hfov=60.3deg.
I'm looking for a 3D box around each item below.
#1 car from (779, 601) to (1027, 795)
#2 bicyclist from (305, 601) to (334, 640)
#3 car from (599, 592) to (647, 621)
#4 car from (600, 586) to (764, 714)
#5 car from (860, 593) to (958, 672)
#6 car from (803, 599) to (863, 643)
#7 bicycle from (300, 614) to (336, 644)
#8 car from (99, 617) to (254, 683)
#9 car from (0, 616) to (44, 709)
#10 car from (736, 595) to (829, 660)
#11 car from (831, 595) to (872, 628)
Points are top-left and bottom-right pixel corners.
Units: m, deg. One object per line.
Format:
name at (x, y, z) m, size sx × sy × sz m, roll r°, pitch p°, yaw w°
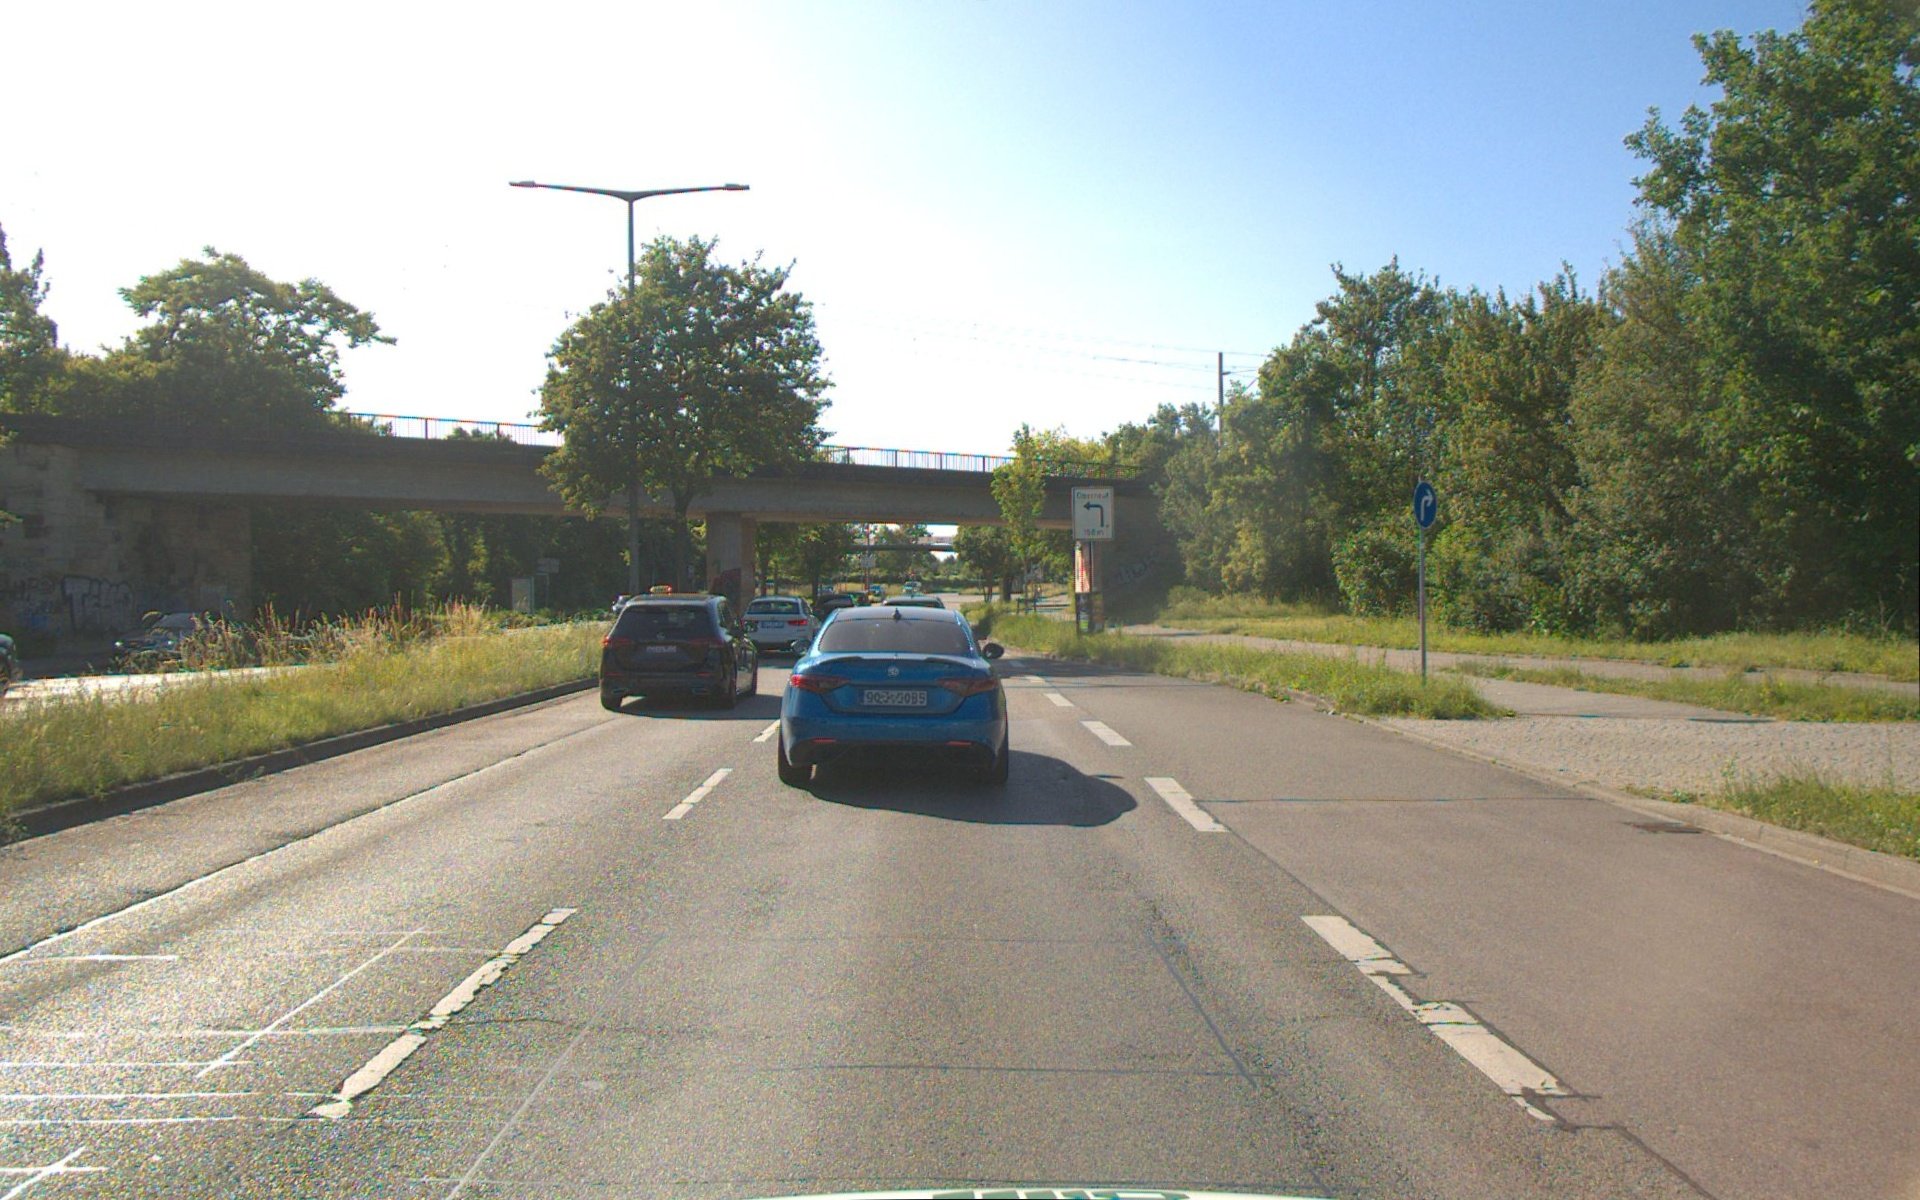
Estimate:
car at (-0.470, 0.746, 14.510) m, size 1.845 × 1.431 × 4.223 m, roll 1°, pitch 0°, yaw -1°
bicyclist at (-23.618, 0.764, 60.960) m, size 0.666 × 1.426 × 1.026 m, roll 1°, pitch 0°, yaw -2°
car at (-17.903, 0.342, 87.977) m, size 1.779 × 1.467 × 4.088 m, roll -1°, pitch 0°, yaw -2°
car at (-3.823, 0.645, 23.376) m, size 1.673 × 1.626 × 4.223 m, roll 1°, pitch 0°, yaw -1°
car at (-1.022, 0.629, 33.746) m, size 1.845 × 1.479 × 4.525 m, roll 1°, pitch 0°, yaw -1°
car at (-4.462, 0.727, 58.689) m, size 1.845 × 1.479 × 4.525 m, roll 1°, pitch 0°, yaw -1°
bicycle at (-23.627, 1.066, 60.882) m, size 0.669 × 1.048 × 1.714 m, roll 1°, pitch 0°, yaw -1°
car at (-19.890, 1.226, 42.216) m, size 1.875 × 1.480 × 4.488 m, roll -3°, pitch 0°, yaw -2°
car at (-15.936, 1.022, 24.859) m, size 1.781 × 1.460 × 4.629 m, roll -3°, pitch 0°, yaw -2°
car at (-4.265, 0.641, 40.374) m, size 1.845 × 1.479 × 4.525 m, roll 1°, pitch 0°, yaw -1°
car at (-5.115, 0.521, 78.642) m, size 1.743 × 1.479 × 4.180 m, roll 0°, pitch 0°, yaw -1°
